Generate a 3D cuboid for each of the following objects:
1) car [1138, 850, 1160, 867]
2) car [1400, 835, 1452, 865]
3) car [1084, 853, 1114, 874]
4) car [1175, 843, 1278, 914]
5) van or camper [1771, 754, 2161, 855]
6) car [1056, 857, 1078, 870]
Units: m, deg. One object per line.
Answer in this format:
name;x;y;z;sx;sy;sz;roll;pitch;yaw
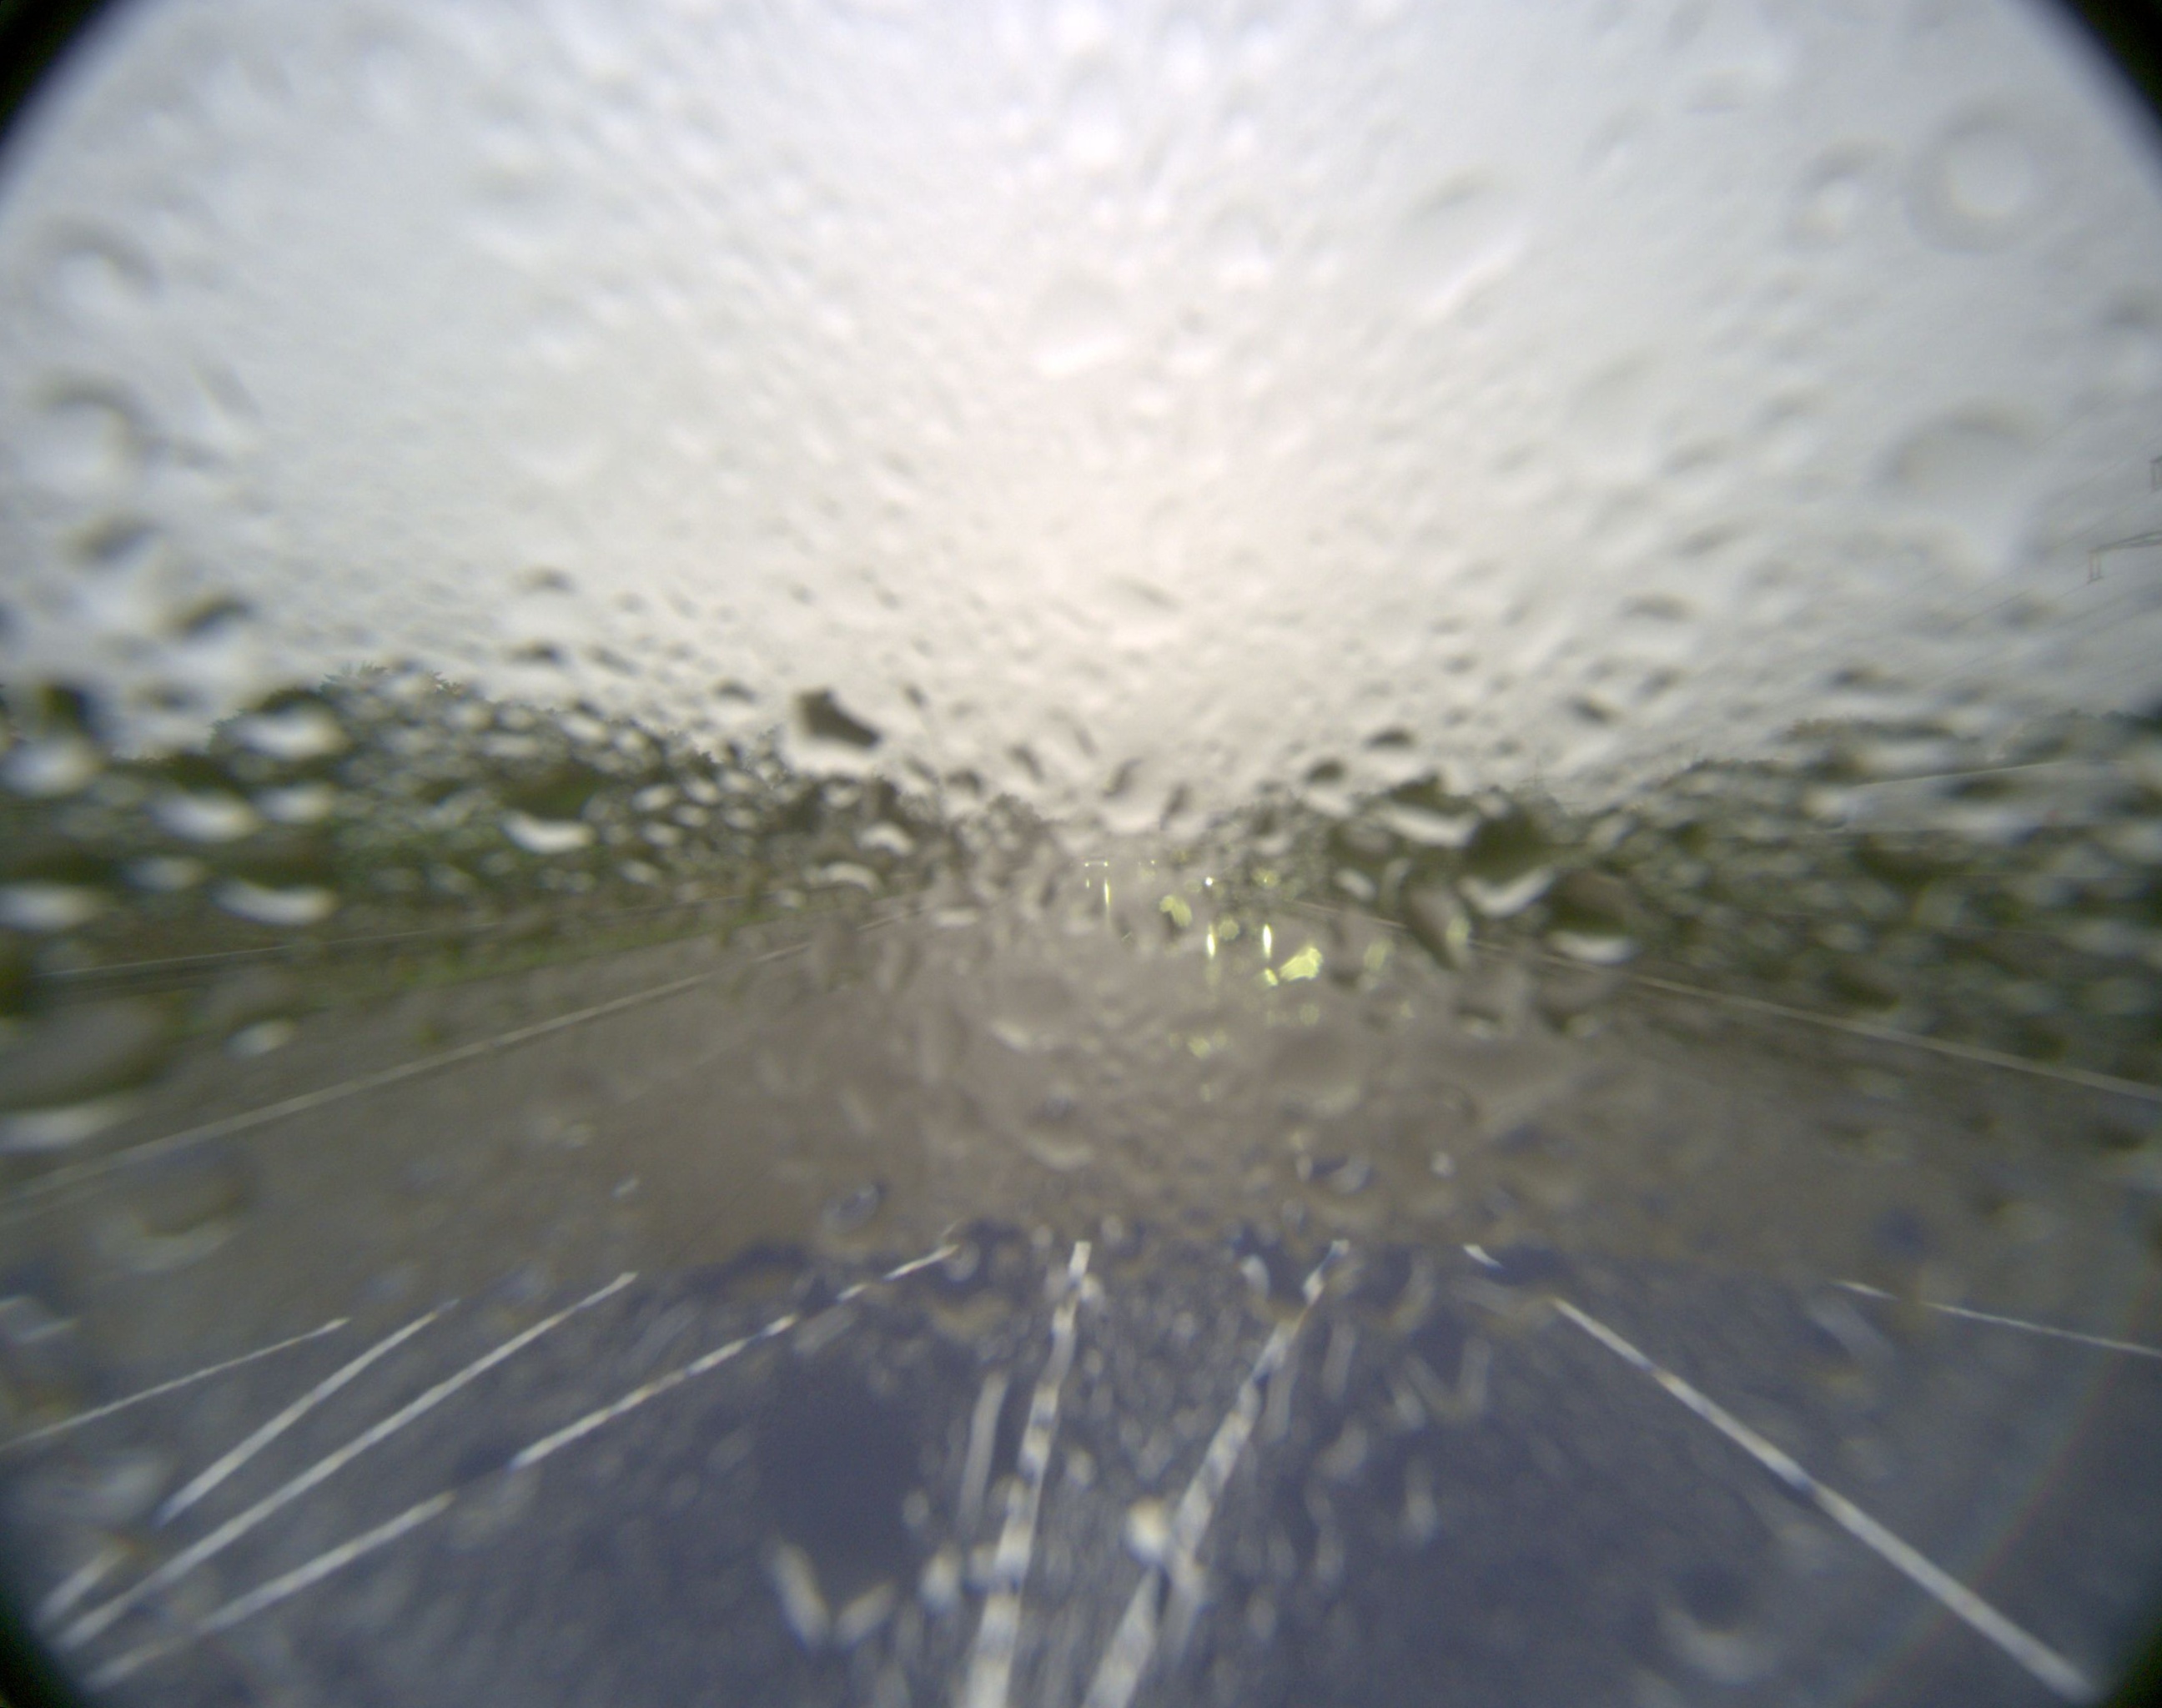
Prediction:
car;6.156;0.406;68.687;1.752;1.369;4.002;-4;0;7
car;18.124;-0.189;40.076;1.309;1.495;3.258;0;0;1
car;1.372;0.664;56.149;1.752;1.406;4.002;-1;0;7
car;4.033;0.654;21.921;2.047;1.763;4.500;-2;0;0
van or camper;22.027;-1.050;19.626;2.283;1.960;6.760;-5;0;1
car;-1.509;1.043;84.950;1.752;1.205;4.002;-5;0;7
